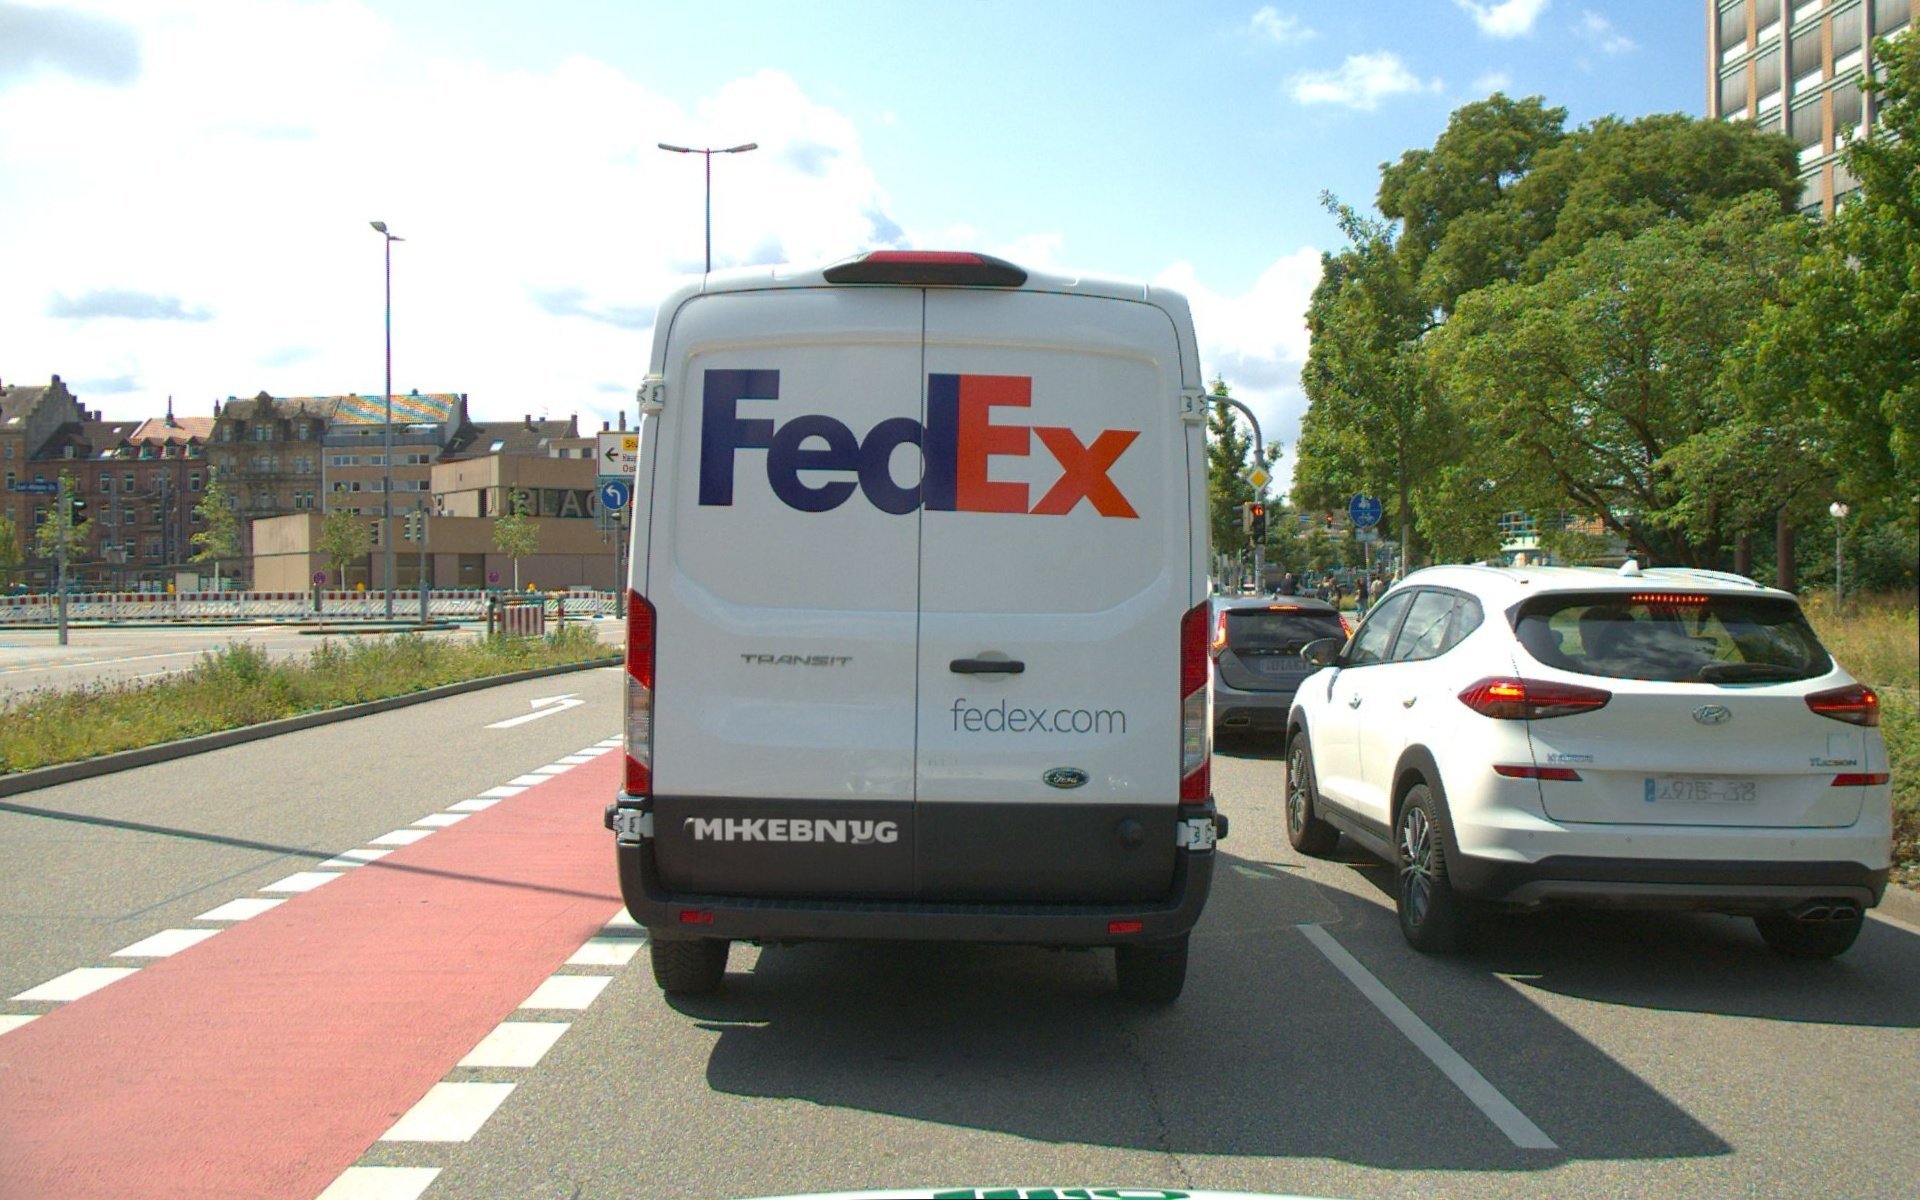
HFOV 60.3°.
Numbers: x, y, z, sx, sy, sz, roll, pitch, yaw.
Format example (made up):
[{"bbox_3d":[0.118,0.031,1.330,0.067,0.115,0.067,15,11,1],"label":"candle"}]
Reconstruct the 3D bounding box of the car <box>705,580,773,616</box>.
[{"bbox_3d":[-10.287,-0.076,77.240,1.860,1.613,4.003,0,0,13],"label":"car"}]

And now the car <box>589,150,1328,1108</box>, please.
[{"bbox_3d":[-0.127,0.071,7.569,2.098,2.699,5.701,0,0,-3],"label":"car"}]

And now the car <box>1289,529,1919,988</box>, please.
[{"bbox_3d":[2.873,0.571,8.192,1.760,1.717,4.001,0,1,1],"label":"car"}]

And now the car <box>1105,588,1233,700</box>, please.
[{"bbox_3d":[2.894,0.567,23.453,1.454,1.453,3.433,0,1,1],"label":"car"}]

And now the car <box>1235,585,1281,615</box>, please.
[{"bbox_3d":[18.627,0.003,103.364,1.953,1.825,4.371,-1,0,22],"label":"car"}]

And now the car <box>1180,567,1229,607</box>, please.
[{"bbox_3d":[13.049,-0.695,88.102,2.048,2.049,4.647,-1,0,15],"label":"car"}]

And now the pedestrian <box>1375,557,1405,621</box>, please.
[{"bbox_3d":[14.085,-0.355,54.220,0.827,2.094,0.741,0,0,4],"label":"pedestrian"}]

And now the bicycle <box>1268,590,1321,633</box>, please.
[{"bbox_3d":[10.637,0.352,52.513,2.054,1.312,0.595,-1,1,-43],"label":"bicycle"}]

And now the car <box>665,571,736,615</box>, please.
[{"bbox_3d":[-12.318,-0.330,78.616,1.951,2.049,4.003,-1,0,14],"label":"car"}]

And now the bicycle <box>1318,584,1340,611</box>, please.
[{"bbox_3d":[14.713,-0.113,65.943,0.534,1.048,1.927,0,1,3],"label":"bicycle"}]

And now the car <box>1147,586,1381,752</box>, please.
[{"bbox_3d":[2.965,0.609,16.888,1.760,1.486,3.839,0,1,1],"label":"car"}]

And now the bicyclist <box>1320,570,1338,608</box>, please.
[{"bbox_3d":[14.718,-0.450,65.967,0.538,1.500,0.971,0,0,3],"label":"bicyclist"}]

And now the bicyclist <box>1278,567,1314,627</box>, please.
[{"bbox_3d":[10.679,-0.099,52.578,1.114,1.877,0.584,-1,1,-44],"label":"bicyclist"}]

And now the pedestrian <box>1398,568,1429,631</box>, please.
[{"bbox_3d":[14.951,-0.011,54.547,0.827,2.049,0.741,0,0,-1],"label":"pedestrian"}]

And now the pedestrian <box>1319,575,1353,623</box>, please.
[{"bbox_3d":[11.066,-0.033,48.726,0.827,1.413,0.741,0,0,-1],"label":"pedestrian"}]

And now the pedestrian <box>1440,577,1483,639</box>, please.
[{"bbox_3d":[12.757,0.193,42.058,0.827,1.565,0.835,0,0,-1],"label":"pedestrian"}]
